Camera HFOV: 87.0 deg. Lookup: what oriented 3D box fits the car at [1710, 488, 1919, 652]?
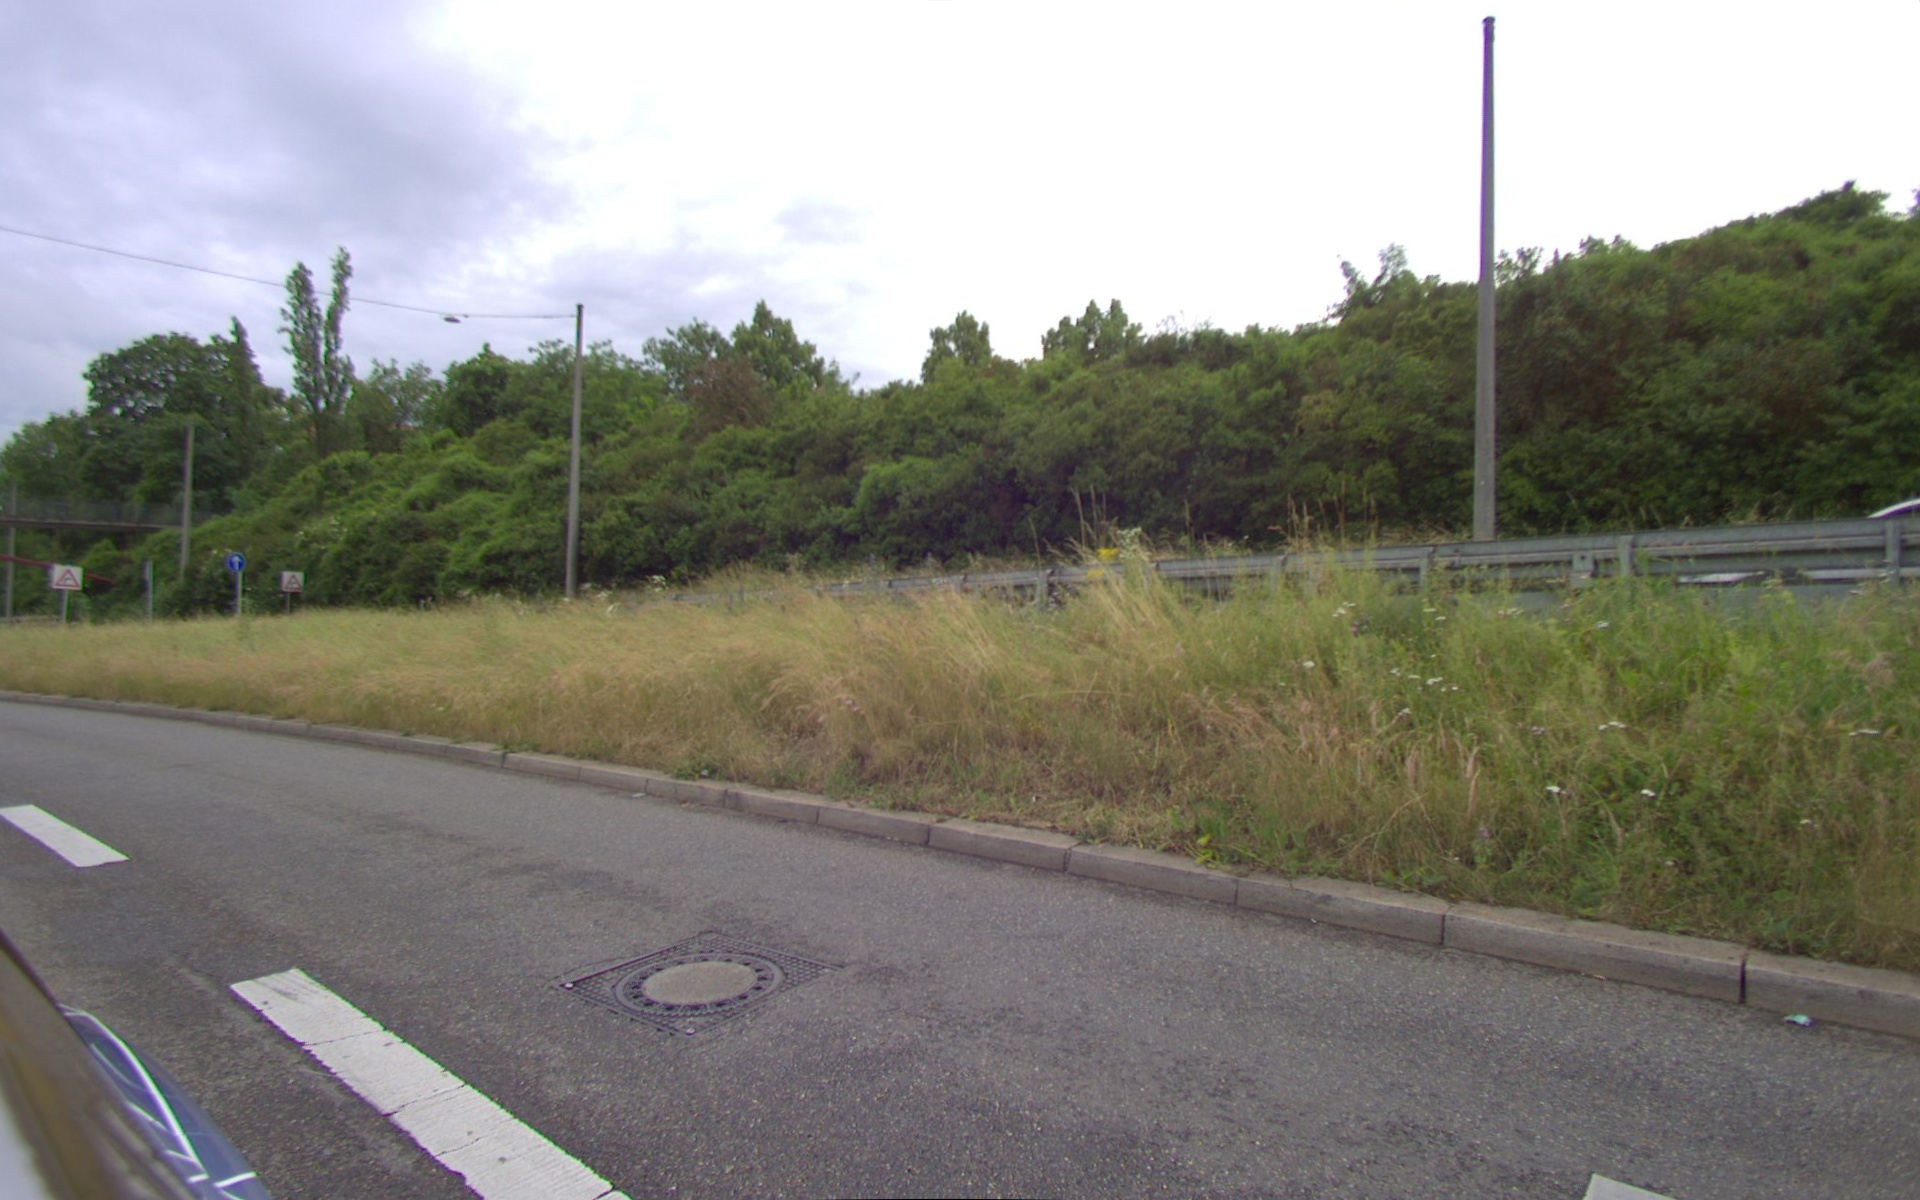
[{"bbox_3d":[9.729,-0.304,9.923,3.676,1.529,1.717,-2,0,41],"label":"car"}]
